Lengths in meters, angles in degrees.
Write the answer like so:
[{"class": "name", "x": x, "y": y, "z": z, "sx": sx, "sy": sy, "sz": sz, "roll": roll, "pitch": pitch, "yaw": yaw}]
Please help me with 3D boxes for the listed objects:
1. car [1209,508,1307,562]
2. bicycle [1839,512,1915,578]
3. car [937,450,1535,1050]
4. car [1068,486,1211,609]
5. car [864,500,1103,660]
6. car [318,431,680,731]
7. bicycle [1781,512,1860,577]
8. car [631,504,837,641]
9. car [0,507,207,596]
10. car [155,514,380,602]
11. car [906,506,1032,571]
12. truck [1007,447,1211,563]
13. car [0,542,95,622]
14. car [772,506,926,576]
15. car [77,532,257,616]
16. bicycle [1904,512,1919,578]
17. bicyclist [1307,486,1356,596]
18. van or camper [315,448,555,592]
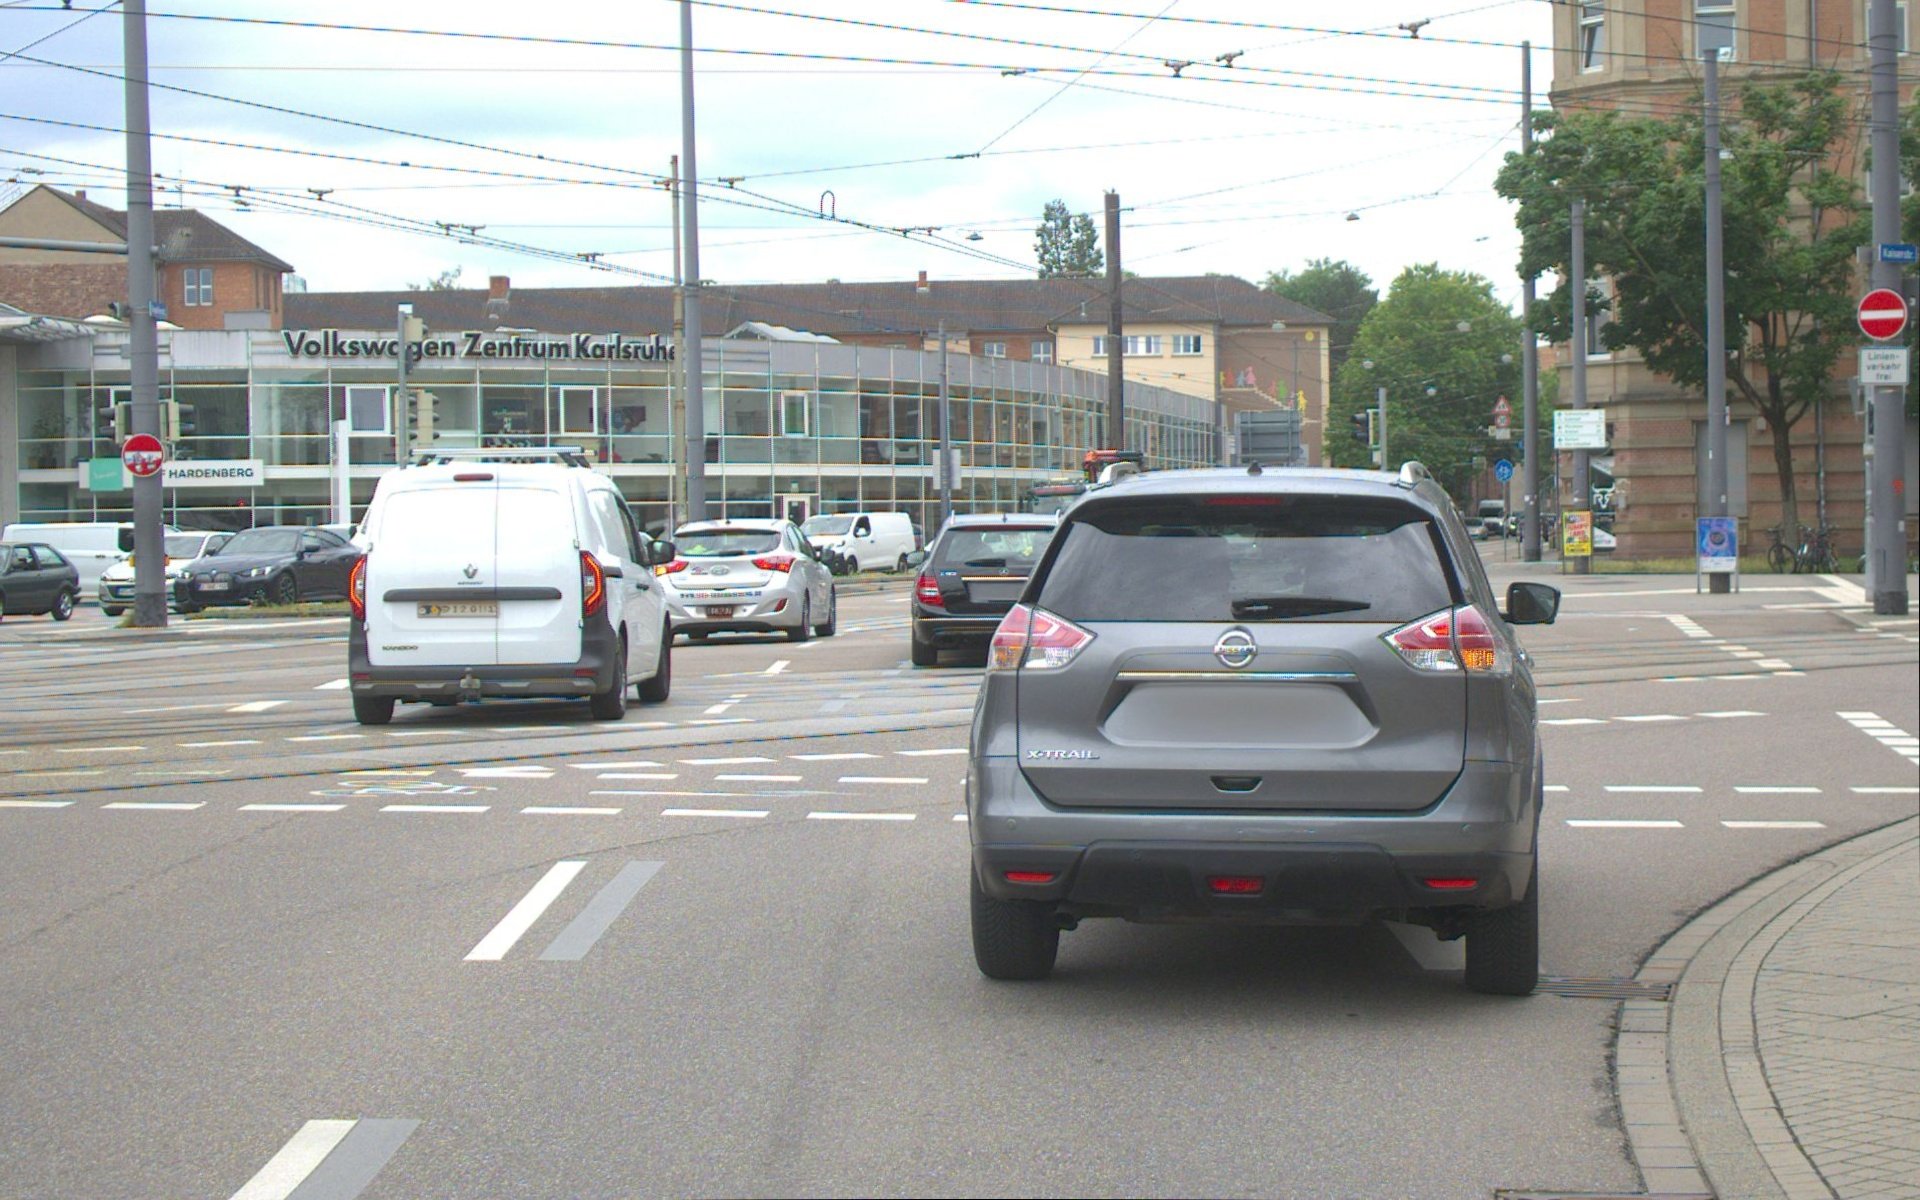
[{"class": "car", "x": 10.433, "y": -2.299, "z": 120.235, "sx": 1.996, "sy": 1.832, "sz": 4.517, "roll": 0, "pitch": 1, "yaw": 25}, {"class": "bicycle", "x": 19.360, "y": -1.161, "z": 72.532, "sx": 0.959, "sy": 1.349, "sz": 3.116, "roll": 1, "pitch": 1, "yaw": 26}, {"class": "car", "x": 1.121, "y": 0.402, "z": 12.101, "sx": 1.750, "sy": 1.750, "sz": 3.922, "roll": 0, "pitch": 1, "yaw": 9}, {"class": "car", "x": 3.087, "y": -0.893, "z": 58.433, "sx": 1.994, "sy": 2.007, "sz": 3.999, "roll": 1, "pitch": 1, "yaw": 9}, {"class": "car", "x": 0.294, "y": -0.223, "z": 32.896, "sx": 1.994, "sy": 1.415, "sz": 4.000, "roll": -1, "pitch": 1, "yaw": 5}, {"class": "car", "x": -3.171, "y": -0.172, "z": 24.448, "sx": 1.912, "sy": 1.933, "sz": 4.131, "roll": -1, "pitch": 1, "yaw": 1}, {"class": "bicycle", "x": 18.270, "y": -1.176, "z": 72.941, "sx": 0.959, "sy": 1.349, "sz": 3.116, "roll": 1, "pitch": 1, "yaw": 26}, {"class": "car", "x": -2.577, "y": -0.337, "z": 40.073, "sx": 1.853, "sy": 1.503, "sz": 4.000, "roll": 0, "pitch": 1, "yaw": 4}, {"class": "car", "x": -20.285, "y": -1.143, "z": 80.365, "sx": 4.768, "sy": 2.007, "sz": 2.120, "roll": 1, "pitch": 1, "yaw": 13}, {"class": "car", "x": -11.628, "y": -0.739, "z": 58.098, "sx": 1.994, "sy": 1.415, "sz": 4.660, "roll": 0, "pitch": 1, "yaw": 13}, {"class": "car", "x": 0.287, "y": -1.824, "z": 101.008, "sx": 1.996, "sy": 1.832, "sz": 4.517, "roll": 0, "pitch": 1, "yaw": 25}, {"class": "truck", "x": 4.881, "y": -2.992, "z": 110.214, "sx": 2.798, "sy": 3.537, "sz": 9.209, "roll": 1, "pitch": 1, "yaw": 28}, {"class": "car", "x": -15.677, "y": -0.304, "z": 55.773, "sx": 1.687, "sy": 1.242, "sz": 3.736, "roll": 0, "pitch": 1, "yaw": 13}, {"class": "car", "x": -2.980, "y": -1.625, "z": 93.884, "sx": 2.159, "sy": 1.850, "sz": 5.441, "roll": 0, "pitch": 1, "yaw": 22}, {"class": "car", "x": -14.002, "y": -0.479, "z": 60.918, "sx": 1.636, "sy": 1.415, "sz": 3.736, "roll": 0, "pitch": 1, "yaw": 13}, {"class": "bicycle", "x": 20.595, "y": -1.144, "z": 72.090, "sx": 0.959, "sy": 1.349, "sz": 3.116, "roll": 1, "pitch": 1, "yaw": 26}, {"class": "bicyclist", "x": 5.828, "y": -0.933, "z": 53.980, "sx": 0.687, "sy": 1.702, "sz": 0.798, "roll": -1, "pitch": 1, "yaw": 1}, {"class": "van or camper", "x": -9.914, "y": -1.509, "z": 65.534, "sx": 2.416, "sy": 2.602, "sz": 6.048, "roll": 1, "pitch": 1, "yaw": 13}]
